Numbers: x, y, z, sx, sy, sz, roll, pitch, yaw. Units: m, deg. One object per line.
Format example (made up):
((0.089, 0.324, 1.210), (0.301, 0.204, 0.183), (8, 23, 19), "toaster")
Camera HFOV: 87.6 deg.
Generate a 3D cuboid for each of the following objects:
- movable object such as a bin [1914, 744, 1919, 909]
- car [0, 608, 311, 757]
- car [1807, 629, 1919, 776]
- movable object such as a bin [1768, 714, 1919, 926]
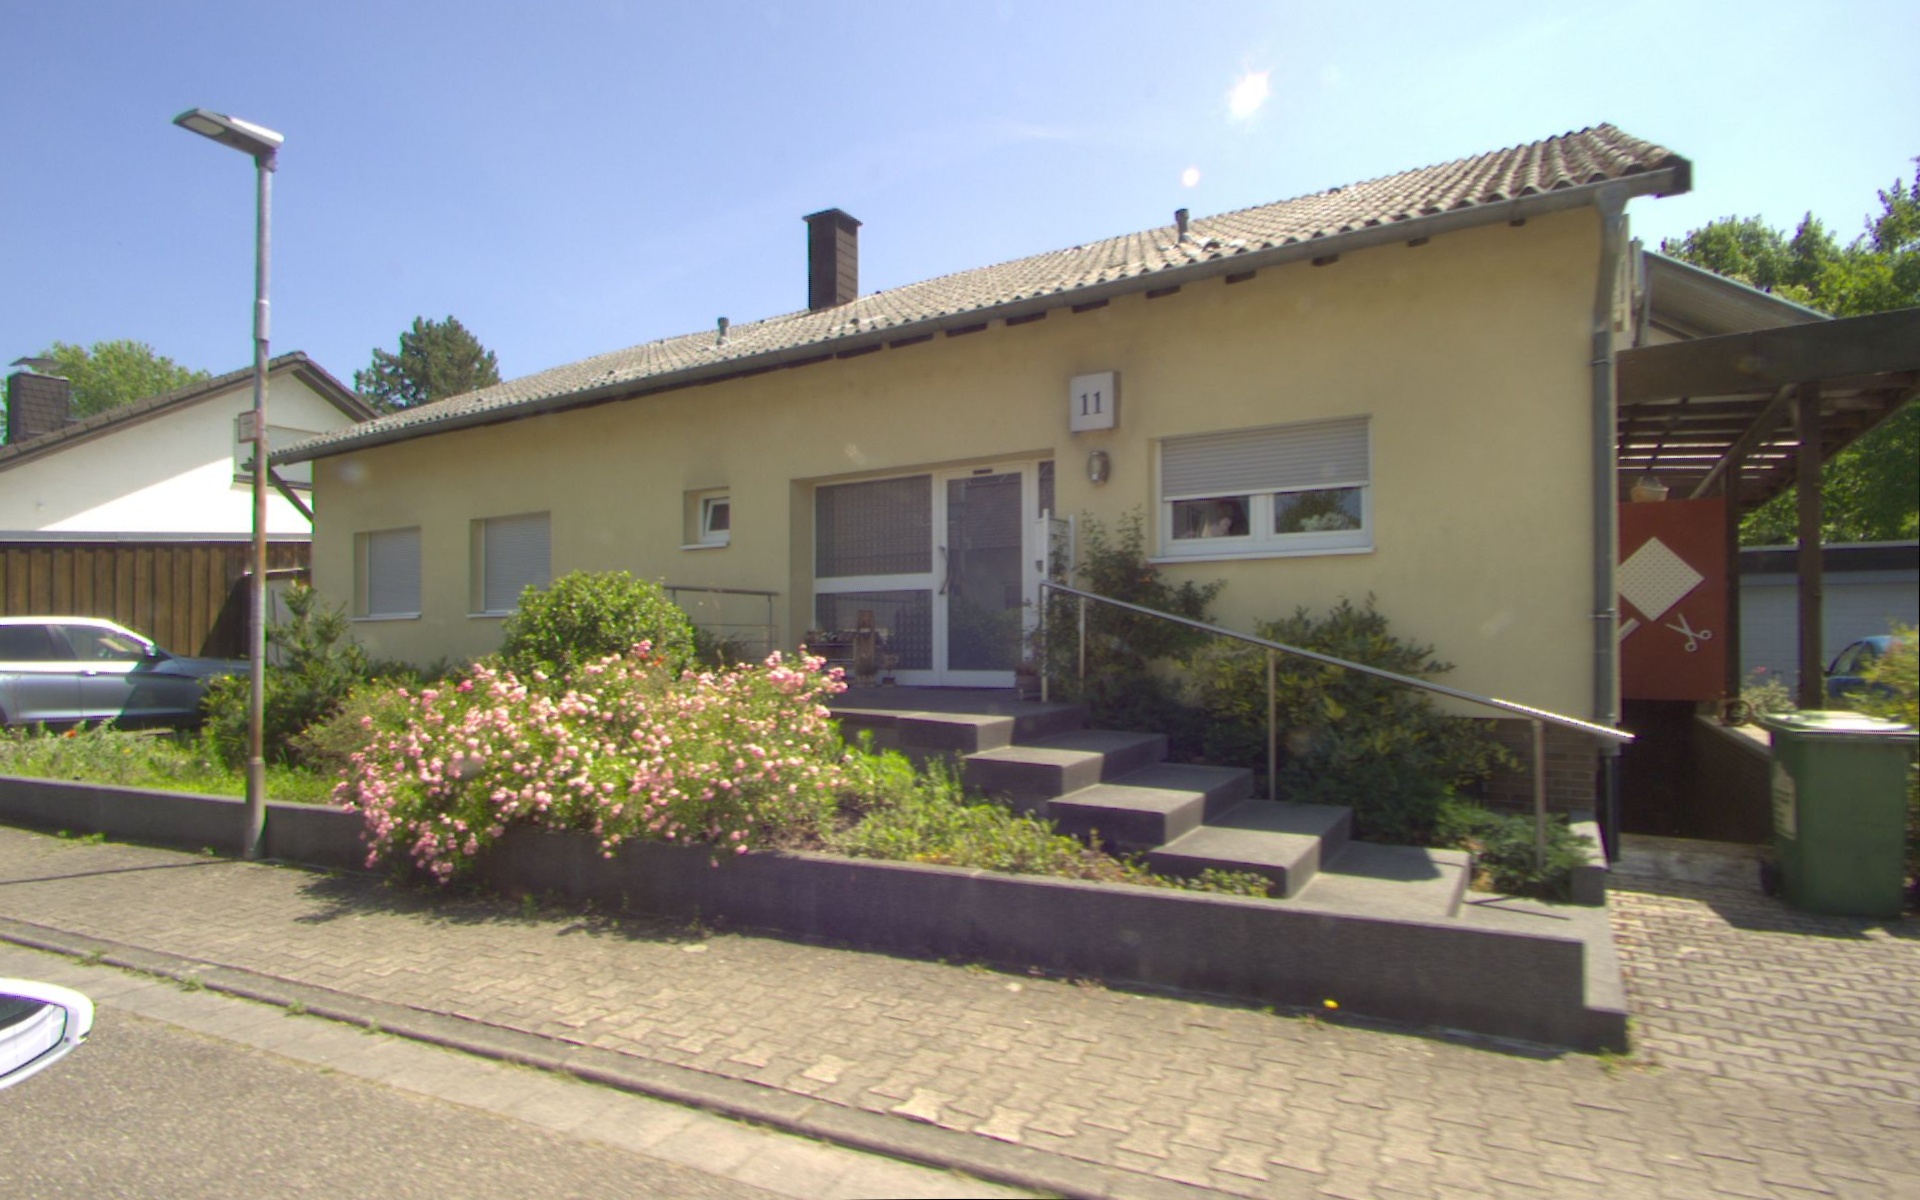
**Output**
((5.339, 1.226, 5.210), (0.401, 0.902, 0.425), (-1, -2, 24), "movable object such as a bin")
((-11.318, 0.982, 12.956), (1.686, 1.724, 4.615), (-1, -1, 34), "car")
((11.133, 1.097, 11.520), (1.596, 1.474, 3.238), (-1, -1, 31), "car")
((4.911, 1.179, 5.509), (0.583, 1.054, 0.490), (-1, -2, 24), "movable object such as a bin")
